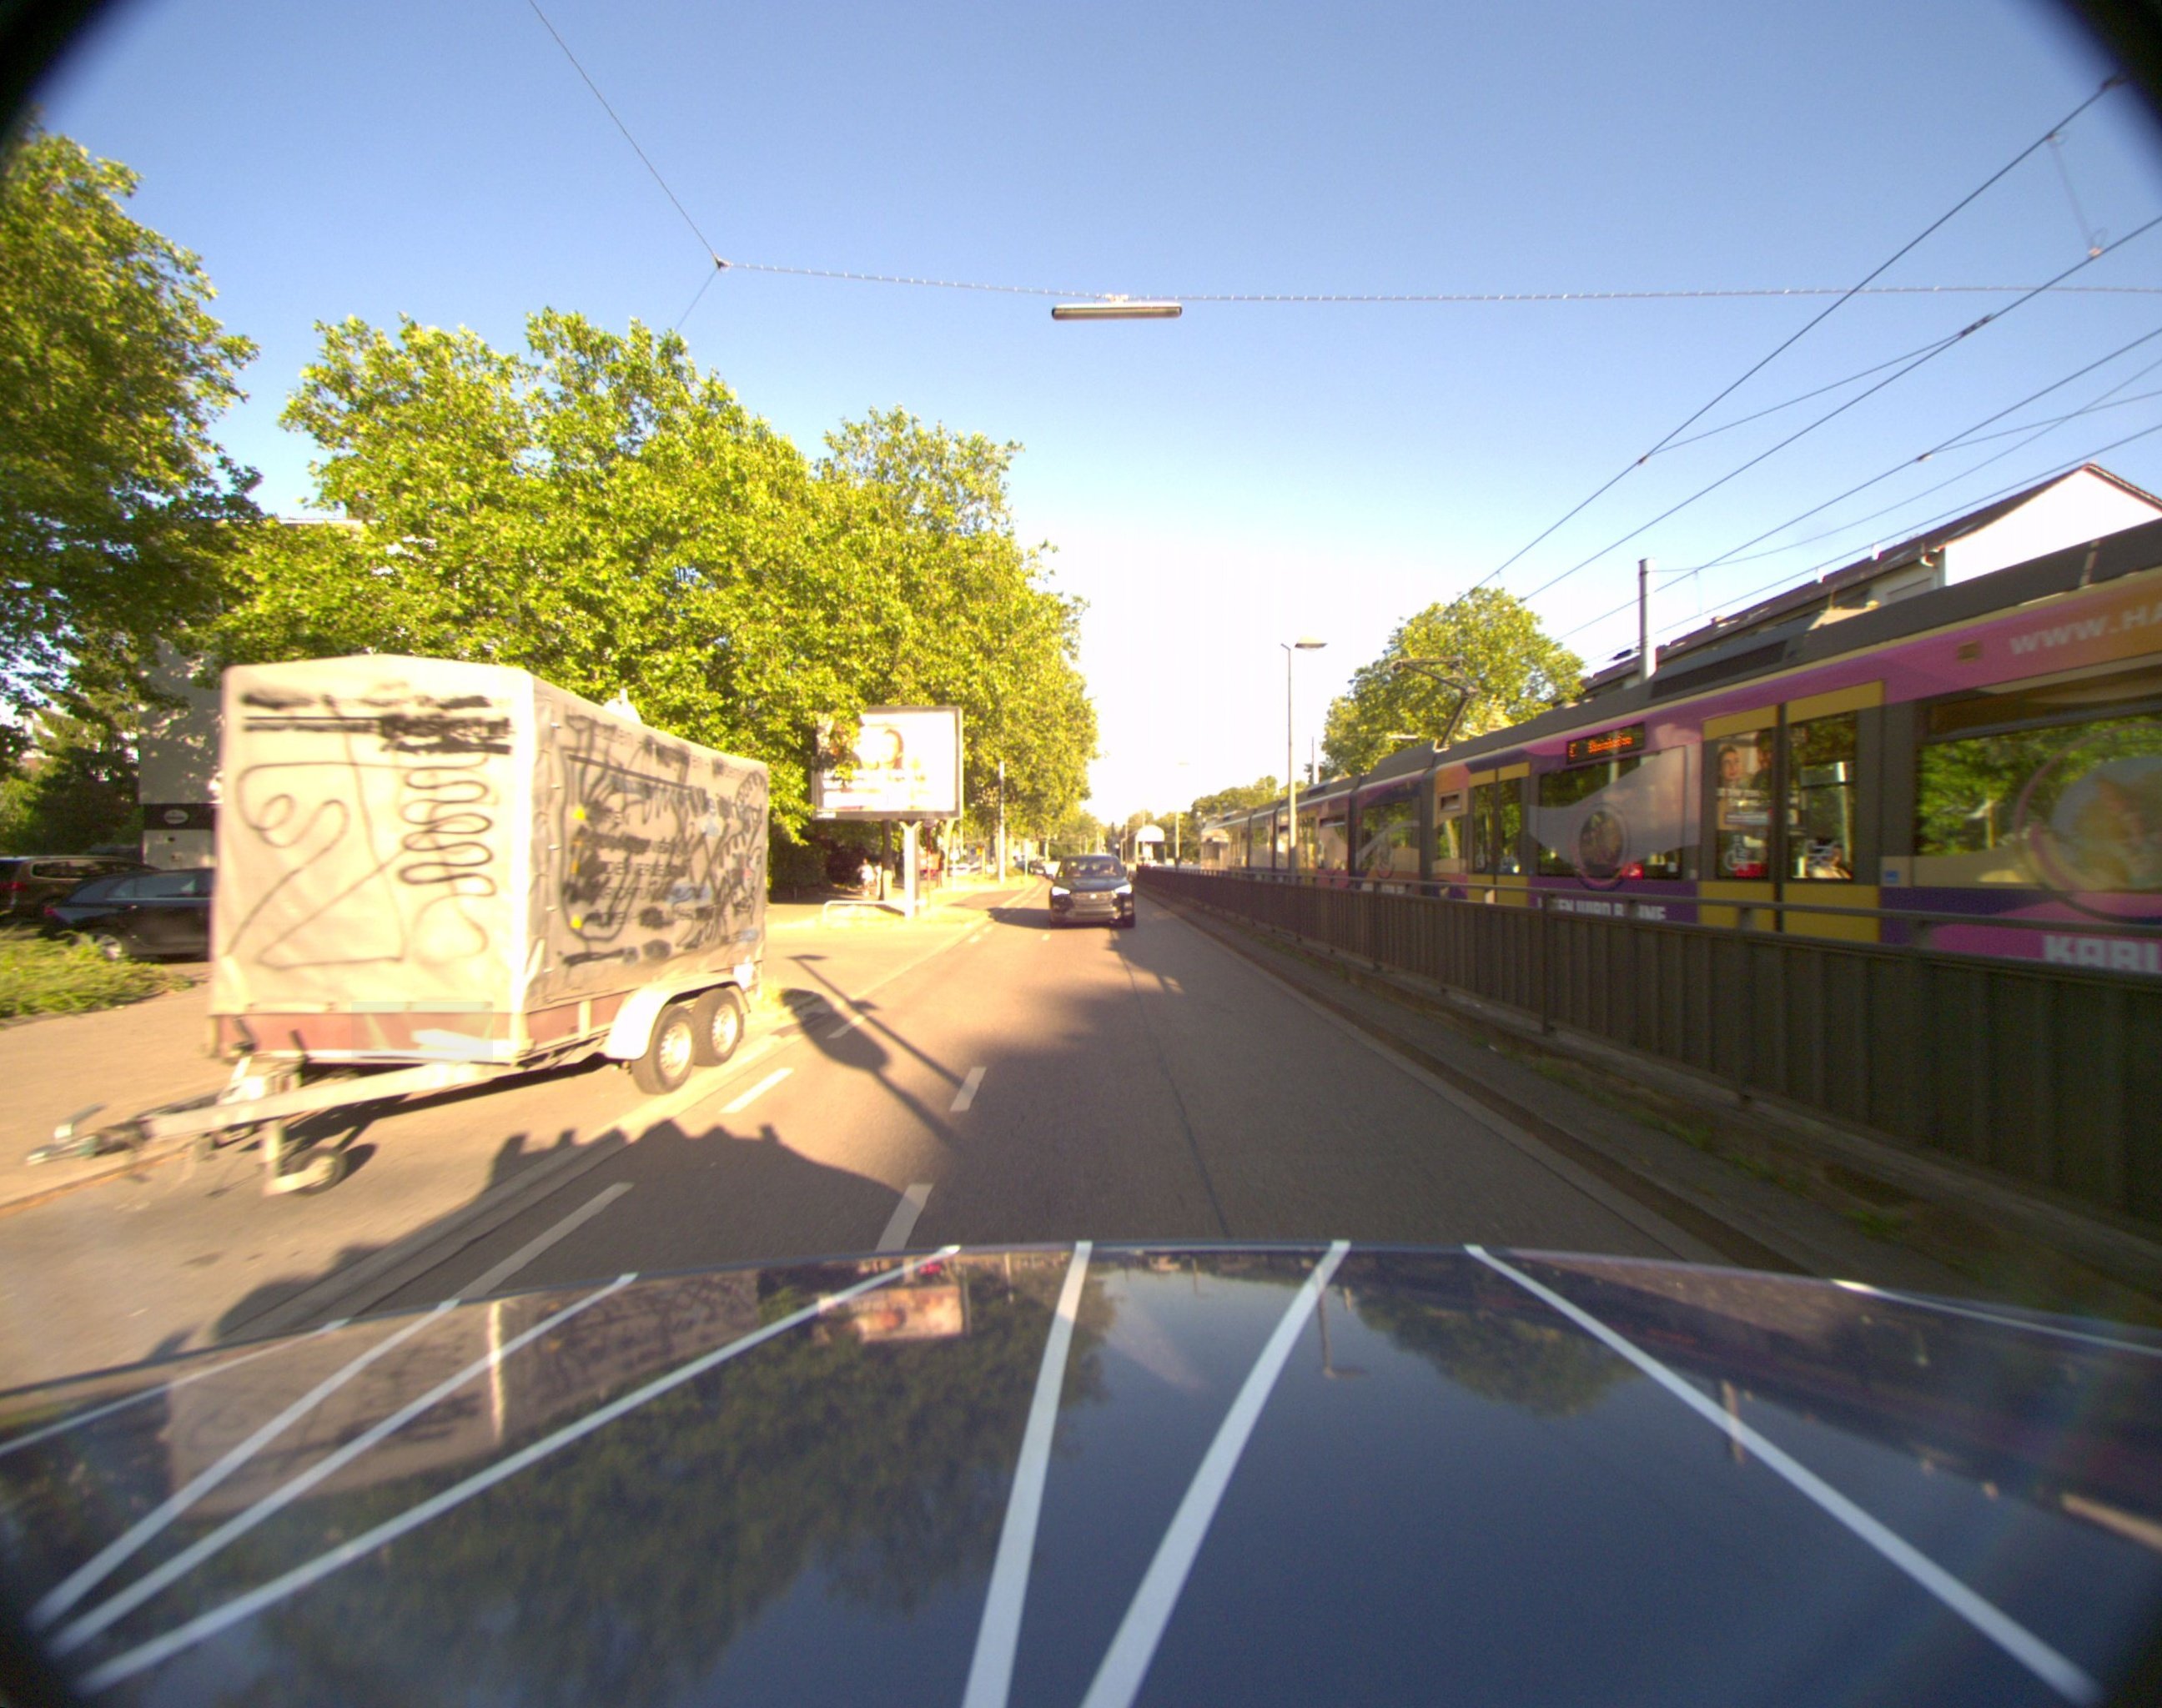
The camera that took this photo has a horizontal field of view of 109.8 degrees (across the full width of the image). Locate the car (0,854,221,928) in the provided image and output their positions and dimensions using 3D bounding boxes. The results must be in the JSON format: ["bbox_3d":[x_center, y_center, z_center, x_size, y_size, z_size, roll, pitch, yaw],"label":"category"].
[{"bbox_3d":[-26.147,0.882,19.991,1.997,1.741,4.203,0,0,11],"label":"car"}]

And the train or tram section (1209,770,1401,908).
[{"bbox_3d":[6.603,-0.415,24.509,3.043,3.497,10.095,1,0,-1],"label":"train or tram section"}]

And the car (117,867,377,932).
[{"bbox_3d":[-21.875,1.127,20.221,1.997,1.467,4.203,0,0,11],"label":"car"}]

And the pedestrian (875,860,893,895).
[{"bbox_3d":[-8.864,1.055,34.225,0.626,1.533,0.765,0,0,-4],"label":"pedestrian"}]

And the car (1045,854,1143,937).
[{"bbox_3d":[0.201,0.848,17.398,1.911,1.606,4.085,-3,0,-2],"label":"car"}]

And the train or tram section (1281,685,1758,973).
[{"bbox_3d":[6.724,-0.333,14.394,3.043,3.497,10.095,1,0,-1],"label":"train or tram section"}]

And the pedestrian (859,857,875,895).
[{"bbox_3d":[-9.640,0.987,34.227,0.555,1.658,0.694,0,0,-4],"label":"pedestrian"}]

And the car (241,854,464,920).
[{"bbox_3d":[-19.346,0.806,20.507,1.819,1.600,4.299,0,0,1],"label":"car"}]

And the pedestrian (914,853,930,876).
[{"bbox_3d":[-12.955,0.817,61.821,1.062,1.853,0.951,0,0,0],"label":"pedestrian"}]

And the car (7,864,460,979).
[{"bbox_3d":[-12.856,0.937,11.983,4.300,1.487,1.996,0,0,-21],"label":"car"}]

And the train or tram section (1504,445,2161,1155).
[{"bbox_3d":[6.832,-0.259,4.327,3.043,3.497,10.095,1,0,-1],"label":"train or tram section"}]

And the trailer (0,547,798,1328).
[{"bbox_3d":[-3.651,0.290,4.833,1.890,2.573,4.651,0,0,1],"label":"trailer"}]

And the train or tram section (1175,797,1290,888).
[{"bbox_3d":[6.510,-0.493,34.615,3.043,3.497,10.095,1,0,-1],"label":"train or tram section"}]
